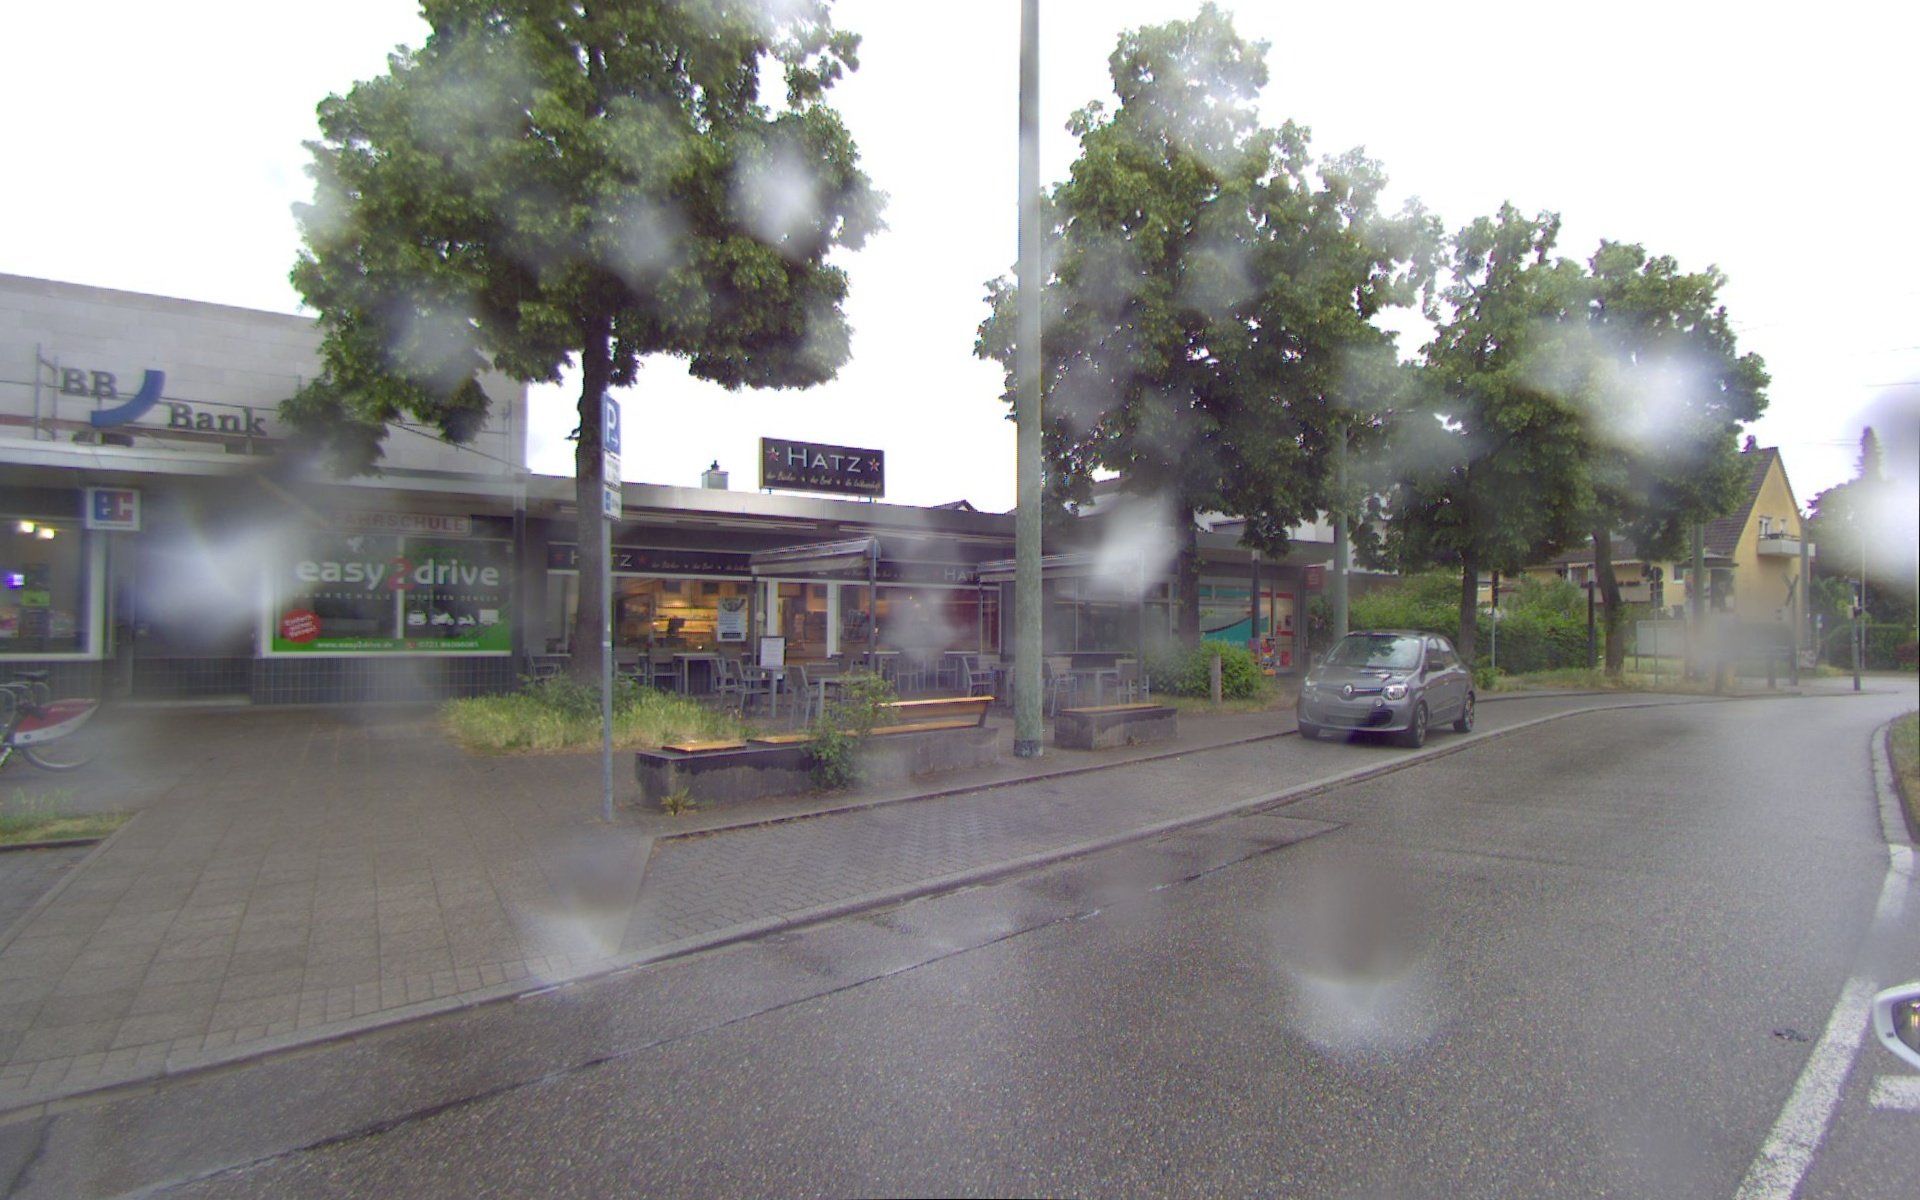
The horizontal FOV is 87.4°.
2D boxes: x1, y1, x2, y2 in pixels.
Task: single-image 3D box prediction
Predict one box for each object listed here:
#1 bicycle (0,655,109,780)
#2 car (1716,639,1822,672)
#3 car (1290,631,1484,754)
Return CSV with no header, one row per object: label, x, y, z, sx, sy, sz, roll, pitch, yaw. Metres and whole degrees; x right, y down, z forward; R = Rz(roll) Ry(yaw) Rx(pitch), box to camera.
bicycle,-9.003,1.083,9.244,0.314,1.122,1.739,2,0,43
car,41.963,2.868,52.181,1.815,1.476,3.960,2,0,-35
car,6.381,1.254,14.823,1.598,1.516,3.649,2,0,40
